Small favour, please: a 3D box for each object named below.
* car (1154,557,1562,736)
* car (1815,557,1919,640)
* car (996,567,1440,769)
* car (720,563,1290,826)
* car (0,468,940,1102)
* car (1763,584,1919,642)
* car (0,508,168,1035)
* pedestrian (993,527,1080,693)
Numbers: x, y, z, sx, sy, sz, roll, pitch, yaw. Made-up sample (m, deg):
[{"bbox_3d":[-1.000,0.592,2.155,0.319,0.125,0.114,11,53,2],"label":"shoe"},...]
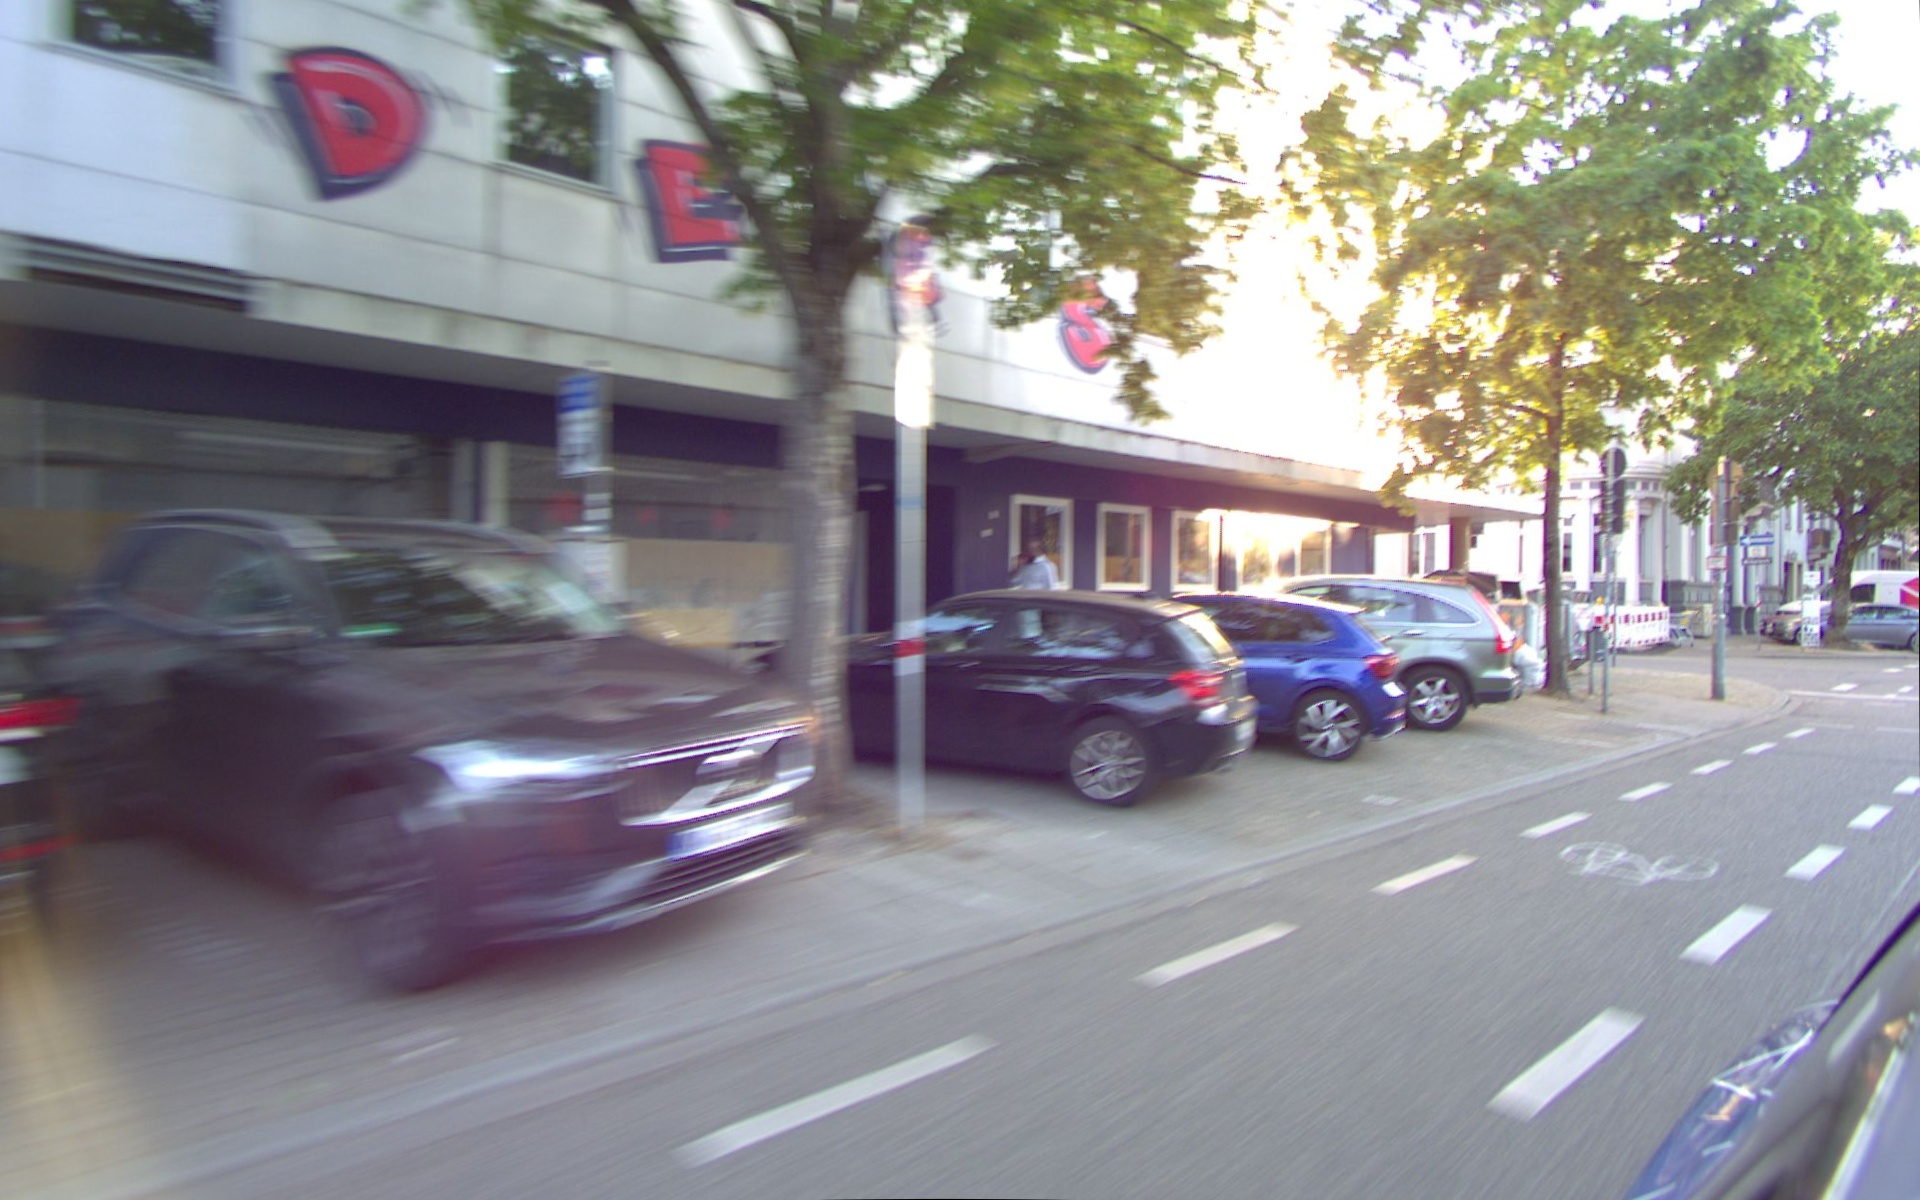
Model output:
[{"bbox_3d":[4.502,0.432,12.028,4.110,1.684,1.833,3,3,16],"label":"car"},{"bbox_3d":[32.965,-0.046,34.335,5.561,2.728,2.161,1,0,16],"label":"car"},{"bbox_3d":[2.473,0.525,10.010,3.846,1.520,1.802,3,3,20],"label":"car"},{"bbox_3d":[0.384,0.544,8.112,4.121,1.483,1.957,4,3,23],"label":"car"},{"bbox_3d":[-2.778,0.371,5.193,4.944,1.849,2.183,4,3,32],"label":"car"},{"bbox_3d":[27.517,0.400,30.680,4.557,1.532,1.848,3,1,24],"label":"car"},{"bbox_3d":[-5.062,0.426,3.850,4.196,1.669,1.953,4,3,32],"label":"car"},{"bbox_3d":[0.964,0.104,12.771,0.772,2.009,0.693,0,3,-40],"label":"pedestrian"}]
